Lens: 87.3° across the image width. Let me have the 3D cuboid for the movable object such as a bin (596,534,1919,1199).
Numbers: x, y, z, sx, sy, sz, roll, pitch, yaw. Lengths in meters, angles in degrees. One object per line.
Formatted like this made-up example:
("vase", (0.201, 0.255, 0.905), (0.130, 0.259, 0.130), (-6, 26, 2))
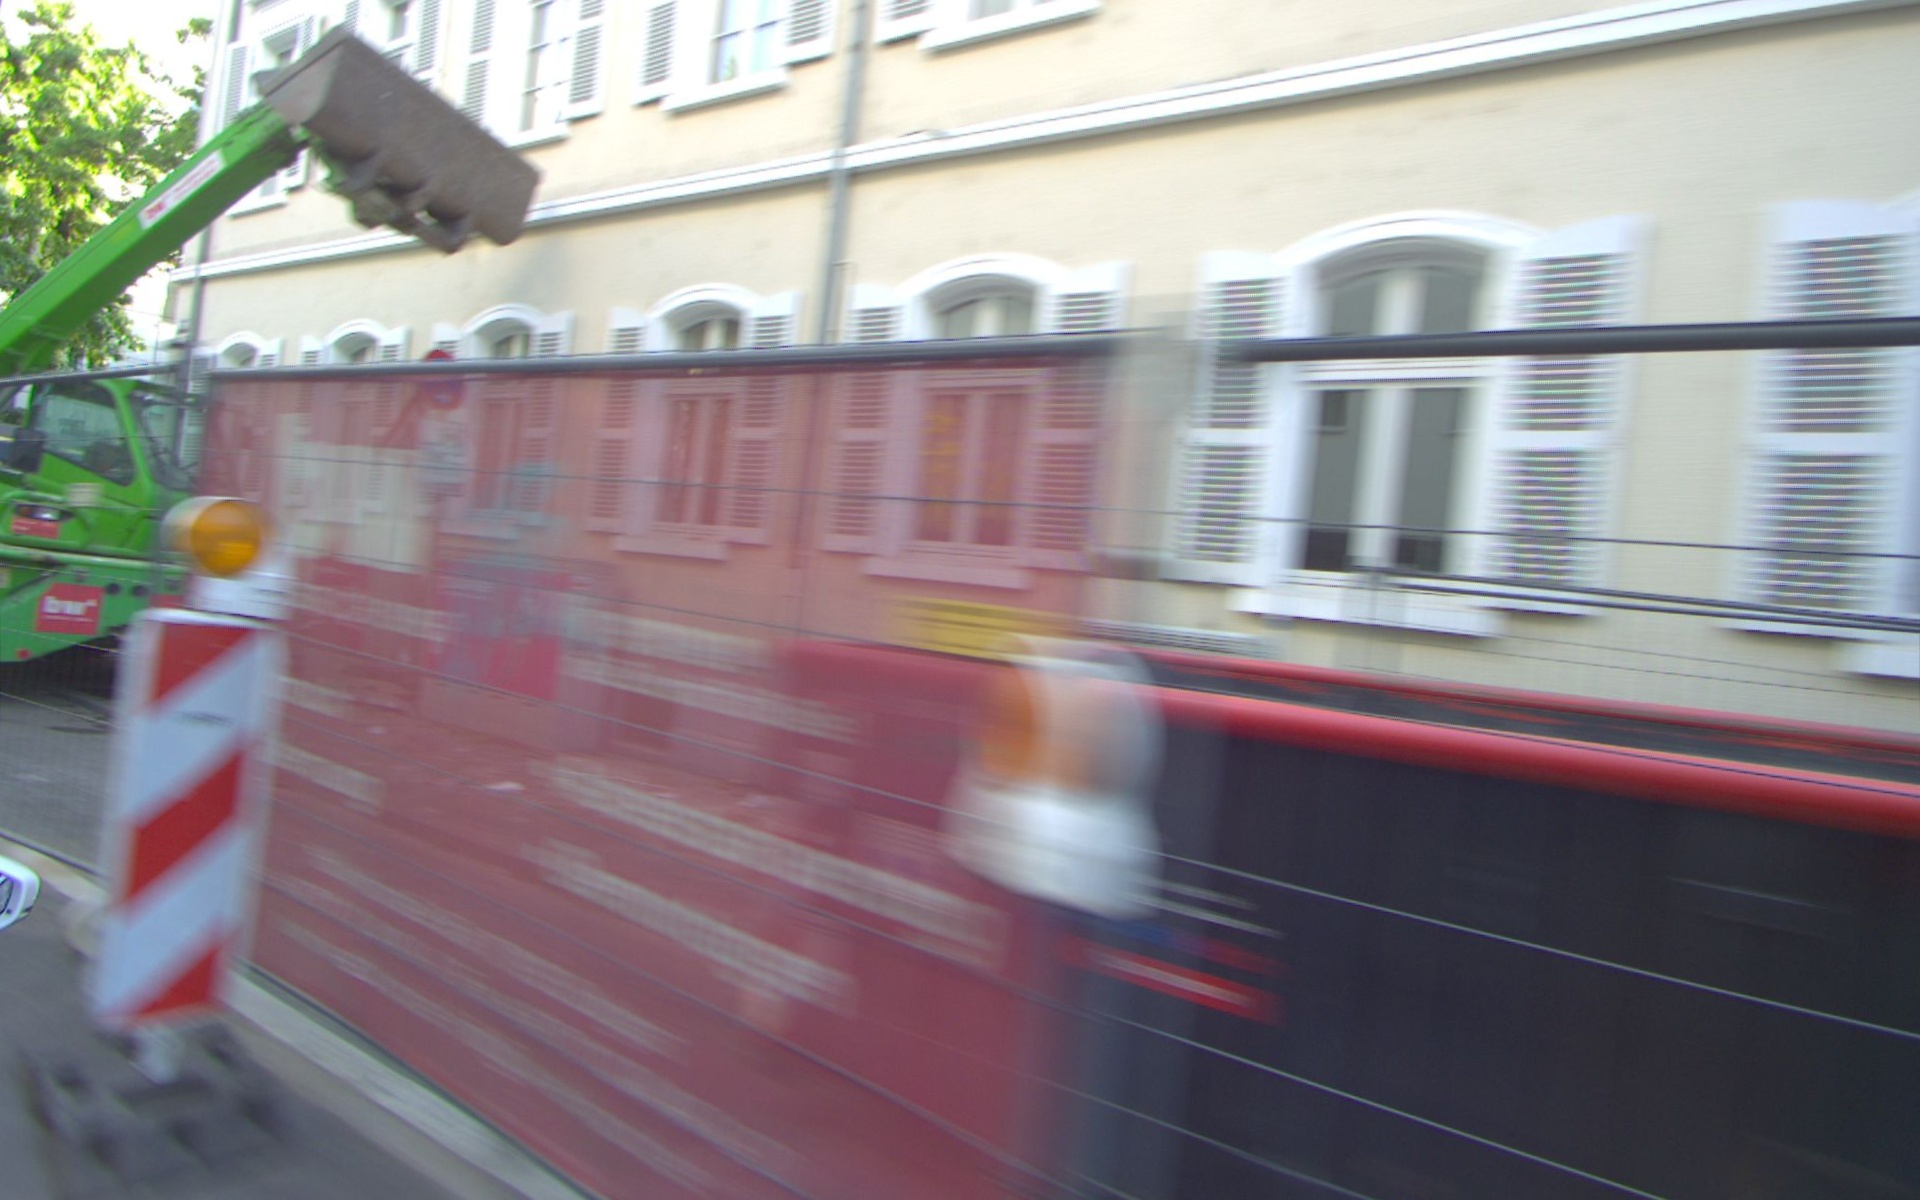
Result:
("movable object such as a bin", (2.938, 1.126, 2.071), (7.170, 1.685, 2.896), (6, -1, 30))

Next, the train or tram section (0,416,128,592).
("train or tram section", (-23.306, -2.507, 19.590), (2.976, 3.565, 10.355), (5, -2, 31))

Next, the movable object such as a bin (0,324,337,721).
("movable object such as a bin", (-8.980, -0.727, 9.593), (5.470, 2.907, 2.640), (6, -1, 29))
